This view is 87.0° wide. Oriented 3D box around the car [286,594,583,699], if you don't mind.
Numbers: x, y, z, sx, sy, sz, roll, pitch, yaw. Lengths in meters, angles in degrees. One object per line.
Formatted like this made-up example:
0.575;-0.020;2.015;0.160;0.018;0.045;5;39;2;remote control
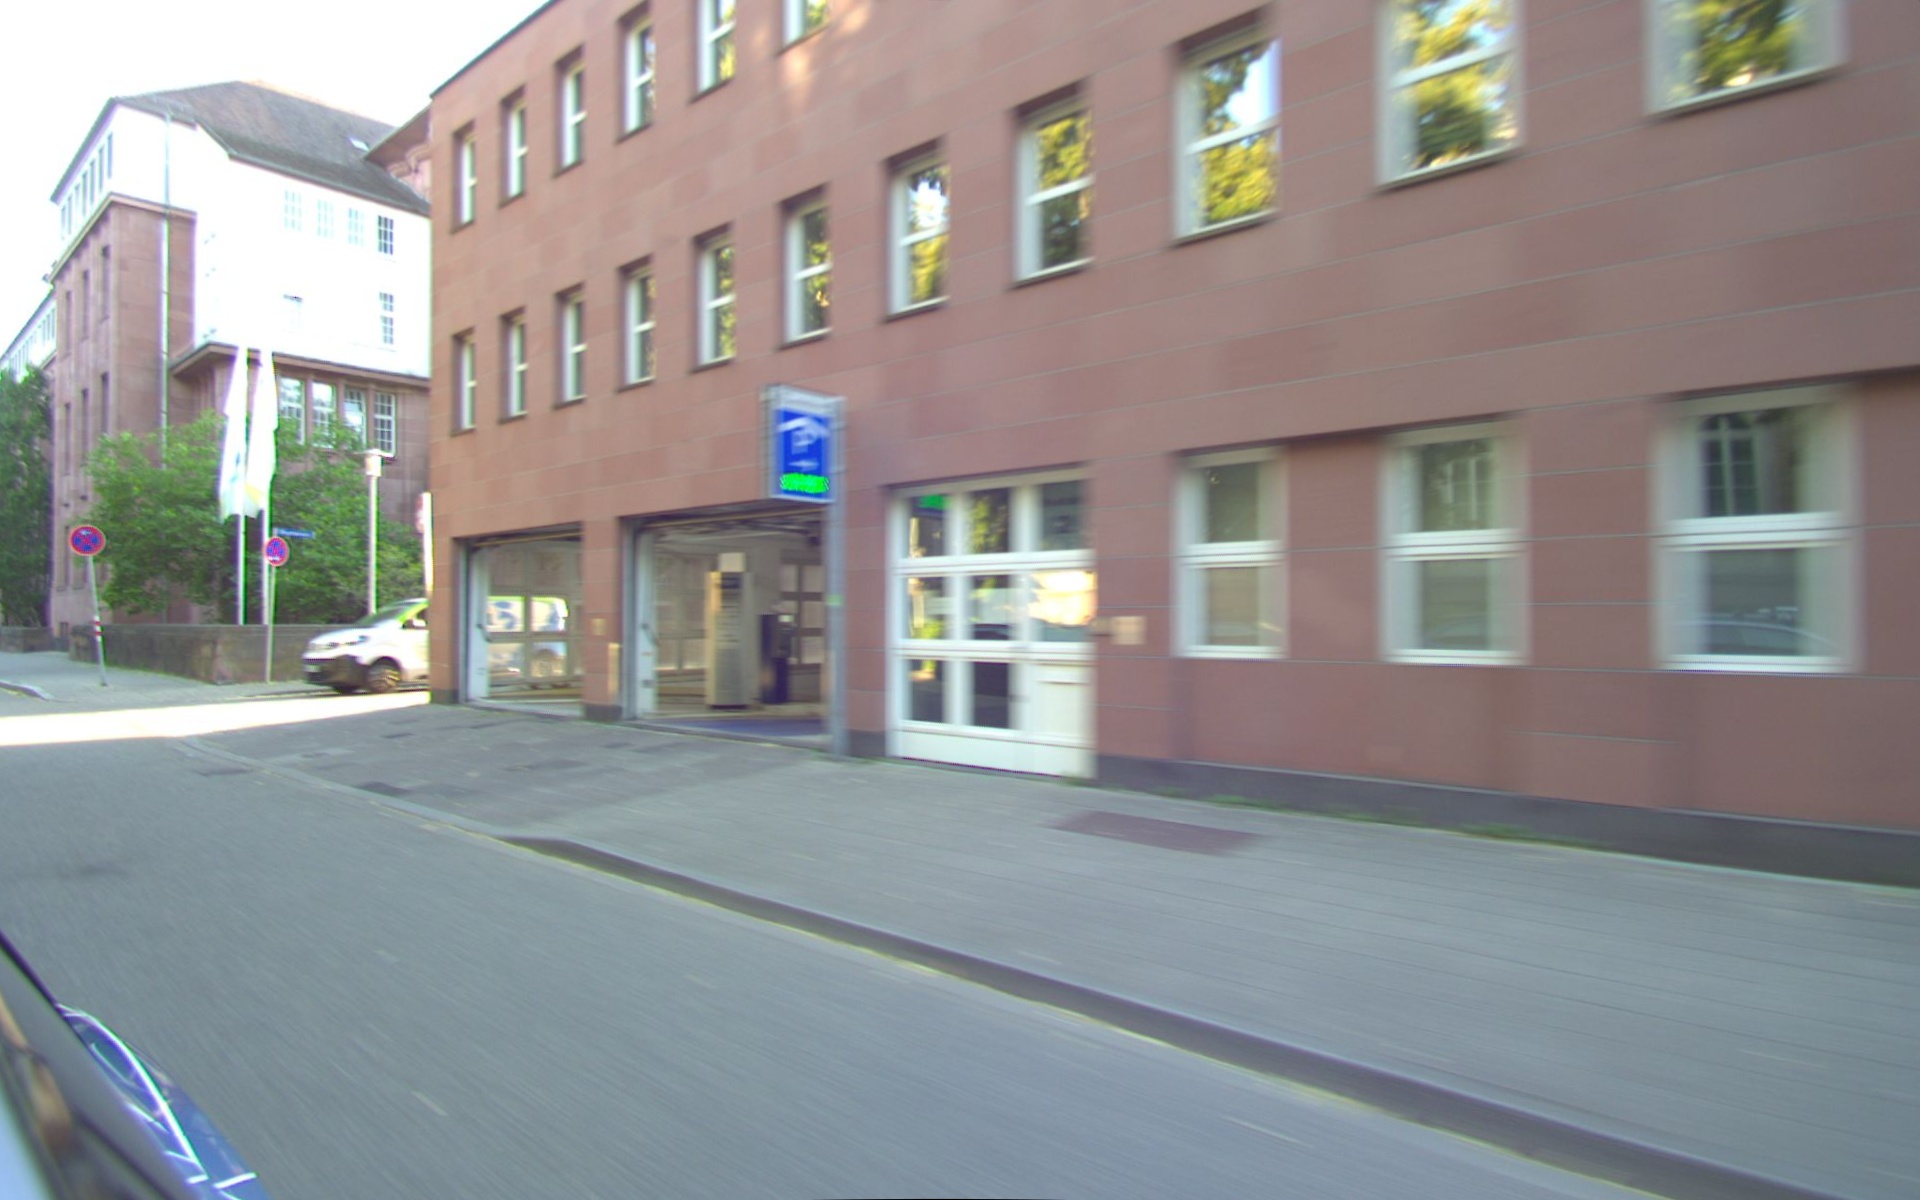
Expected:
-10.603;0.902;20.781;1.998;1.889;5.041;-4;-3;39;car
